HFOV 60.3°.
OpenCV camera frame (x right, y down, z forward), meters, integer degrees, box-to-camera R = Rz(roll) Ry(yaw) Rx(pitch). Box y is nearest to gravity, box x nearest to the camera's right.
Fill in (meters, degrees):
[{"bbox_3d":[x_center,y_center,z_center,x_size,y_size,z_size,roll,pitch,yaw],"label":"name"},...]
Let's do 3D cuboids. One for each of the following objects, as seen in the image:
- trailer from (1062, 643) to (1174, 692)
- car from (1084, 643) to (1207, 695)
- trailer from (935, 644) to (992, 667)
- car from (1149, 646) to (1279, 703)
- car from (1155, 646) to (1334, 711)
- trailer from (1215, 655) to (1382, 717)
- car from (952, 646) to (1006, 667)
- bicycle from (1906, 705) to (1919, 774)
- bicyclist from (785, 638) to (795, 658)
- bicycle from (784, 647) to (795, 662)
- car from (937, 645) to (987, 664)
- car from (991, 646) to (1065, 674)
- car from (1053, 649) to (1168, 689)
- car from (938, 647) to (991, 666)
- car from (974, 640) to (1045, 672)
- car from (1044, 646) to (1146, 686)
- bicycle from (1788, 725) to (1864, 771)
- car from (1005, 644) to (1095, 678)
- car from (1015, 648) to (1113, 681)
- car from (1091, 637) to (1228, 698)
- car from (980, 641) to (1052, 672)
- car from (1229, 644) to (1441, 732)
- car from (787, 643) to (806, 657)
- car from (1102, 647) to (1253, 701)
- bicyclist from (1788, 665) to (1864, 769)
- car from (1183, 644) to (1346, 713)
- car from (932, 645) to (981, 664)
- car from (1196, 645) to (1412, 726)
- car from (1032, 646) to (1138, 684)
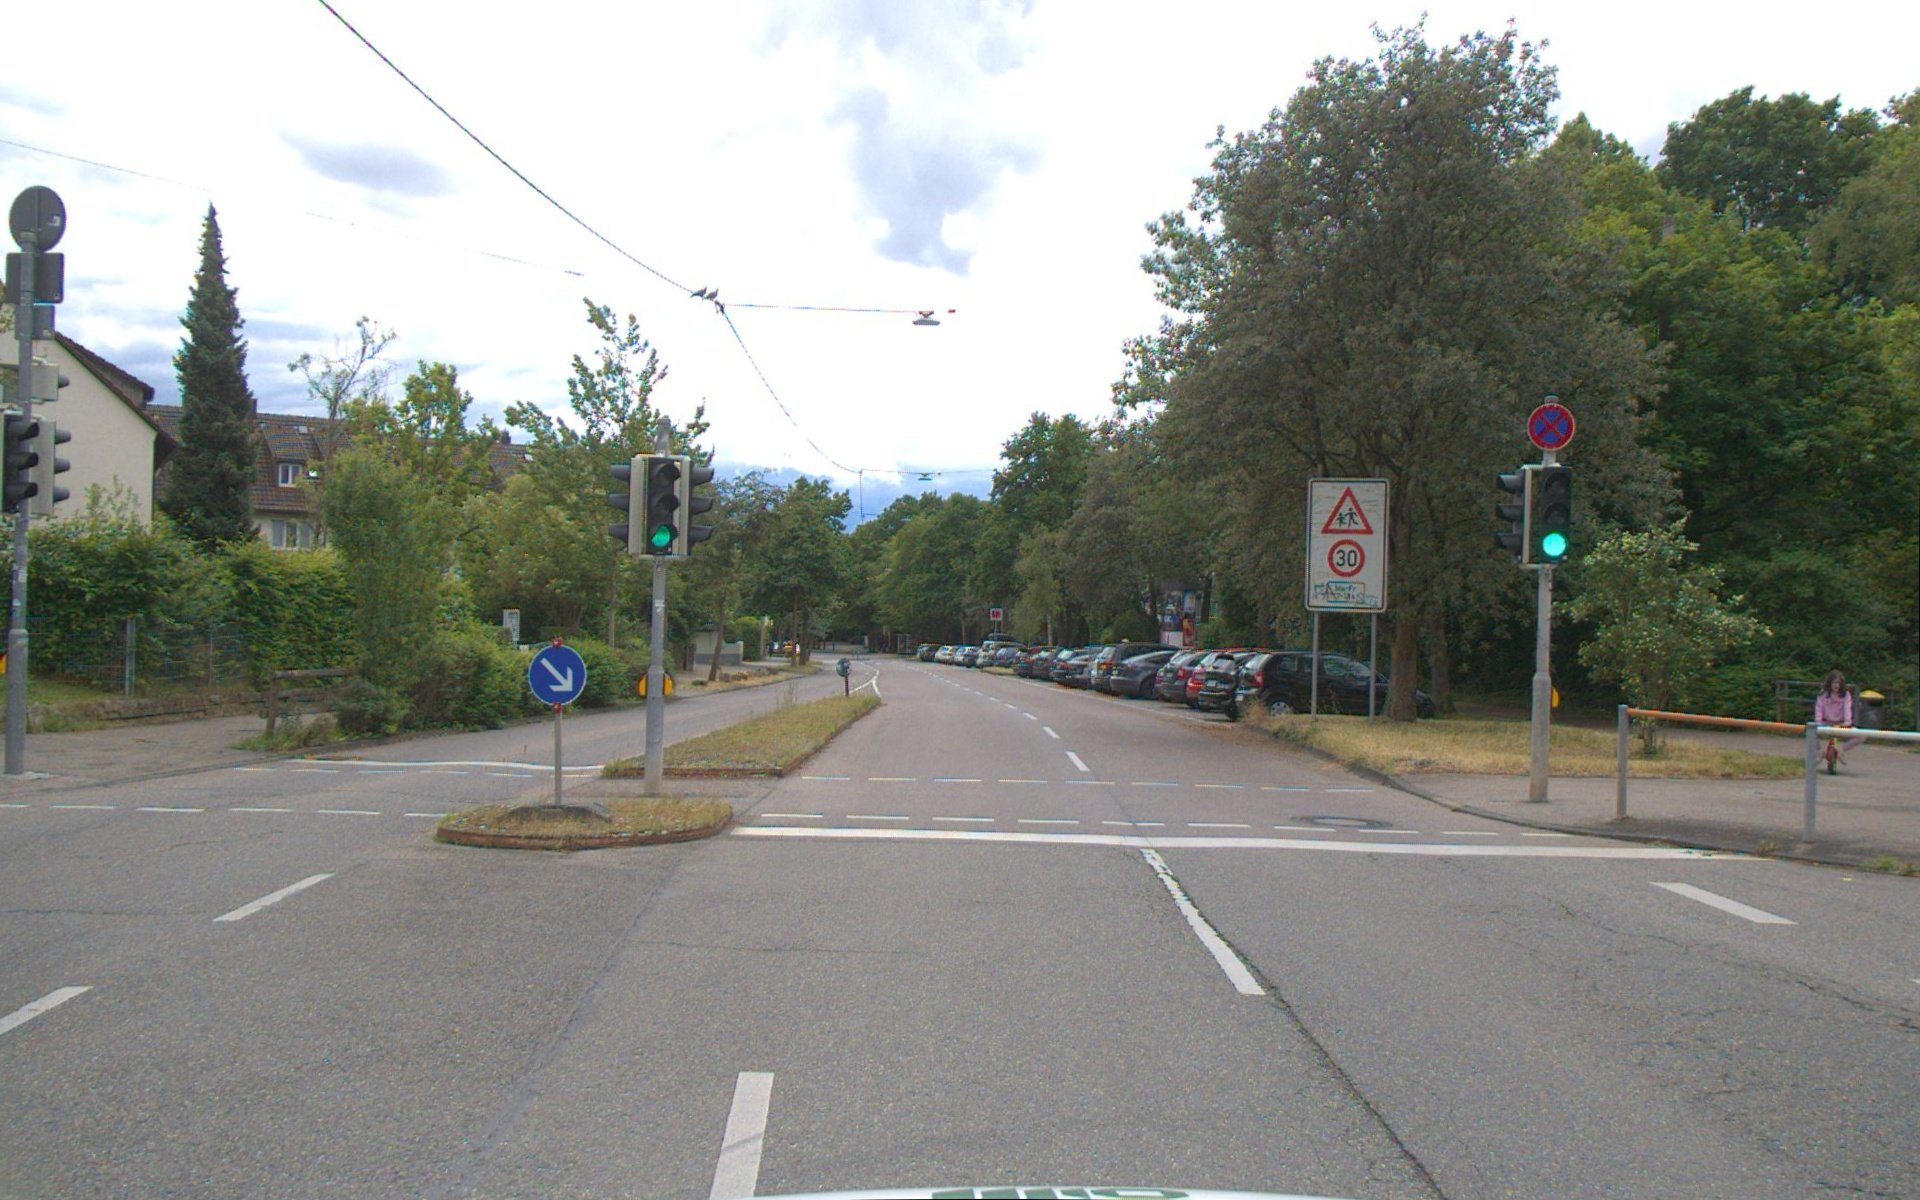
[{"bbox_3d":[5.641,2.412,59.242,3.626,1.562,1.639,3,-2,-15],"label":"trailer"},{"bbox_3d":[6.078,2.277,54.434,3.748,1.556,1.603,2,-2,-7],"label":"car"},{"bbox_3d":[0.273,4.348,130.170,4.097,1.601,1.700,3,-2,-23],"label":"trailer"},{"bbox_3d":[7.201,2.113,46.979,3.268,1.490,1.629,2,-2,-13],"label":"car"},{"bbox_3d":[7.210,1.977,42.022,4.145,1.490,1.630,2,-2,-12],"label":"car"},{"bbox_3d":[7.612,1.928,37.283,3.343,1.289,1.611,2,-2,-13],"label":"trailer"},{"bbox_3d":[1.470,4.392,128.064,3.834,1.474,1.730,3,-2,-25],"label":"car"},{"bbox_3d":[11.221,1.581,18.261,0.626,0.772,1.681,1,-2,1],"label":"bicycle"},{"bbox_3d":[-14.976,4.230,145.497,0.828,1.727,0.713,2,-1,-5],"label":"bicyclist"},{"bbox_3d":[-14.993,4.792,145.504,0.828,1.288,2.649,2,-1,-5],"label":"bicycle"},{"bbox_3d":[0.144,4.606,138.642,3.832,1.454,1.731,3,-2,-23],"label":"car"},{"bbox_3d":[3.901,3.453,95.222,3.903,1.430,1.747,3,-2,-18],"label":"car"},{"bbox_3d":[5.583,2.573,61.575,3.966,1.351,1.554,2,-3,-12],"label":"car"},{"bbox_3d":[0.374,4.547,132.862,3.839,1.332,1.728,3,-2,-28],"label":"car"},{"bbox_3d":[3.104,3.503,103.345,4.043,1.785,1.769,3,-2,-30],"label":"car"},{"bbox_3d":[5.479,2.675,67.123,3.776,1.481,1.627,2,-2,-15],"label":"car"},{"bbox_3d":[10.468,1.783,20.018,0.507,0.506,0.989,1,-3,8],"label":"bicycle"},{"bbox_3d":[4.345,2.961,79.967,4.020,1.542,1.719,2,-2,-26],"label":"car"},{"bbox_3d":[4.842,3.013,77.221,4.244,1.365,1.725,3,-2,-17],"label":"car"},{"bbox_3d":[6.215,2.101,51.661,3.916,1.755,1.675,2,-2,-13],"label":"car"},{"bbox_3d":[3.396,3.430,100.541,3.937,1.648,1.874,3,-2,-19],"label":"car"},{"bbox_3d":[7.167,1.678,31.804,3.644,1.502,1.574,2,-1,-6],"label":"car"},{"bbox_3d":[-18.984,5.812,192.052,1.833,1.497,3.990,1,-2,-10],"label":"car"},{"bbox_3d":[6.412,2.185,48.938,4.089,1.431,1.691,2,-2,-14],"label":"car"},{"bbox_3d":[10.476,1.402,20.028,0.507,1.208,0.968,1,-3,8],"label":"bicyclist"},{"bbox_3d":[7.265,1.868,39.524,3.465,1.502,1.585,2,-2,-15],"label":"car"},{"bbox_3d":[-0.285,4.639,141.194,3.832,1.454,1.731,3,-2,-23],"label":"car"},{"bbox_3d":[7.077,1.752,34.101,4.065,1.502,1.570,2,-2,-14],"label":"car"},{"bbox_3d":[5.416,2.817,71.717,4.276,1.471,1.626,3,-1,-18],"label":"car"}]
